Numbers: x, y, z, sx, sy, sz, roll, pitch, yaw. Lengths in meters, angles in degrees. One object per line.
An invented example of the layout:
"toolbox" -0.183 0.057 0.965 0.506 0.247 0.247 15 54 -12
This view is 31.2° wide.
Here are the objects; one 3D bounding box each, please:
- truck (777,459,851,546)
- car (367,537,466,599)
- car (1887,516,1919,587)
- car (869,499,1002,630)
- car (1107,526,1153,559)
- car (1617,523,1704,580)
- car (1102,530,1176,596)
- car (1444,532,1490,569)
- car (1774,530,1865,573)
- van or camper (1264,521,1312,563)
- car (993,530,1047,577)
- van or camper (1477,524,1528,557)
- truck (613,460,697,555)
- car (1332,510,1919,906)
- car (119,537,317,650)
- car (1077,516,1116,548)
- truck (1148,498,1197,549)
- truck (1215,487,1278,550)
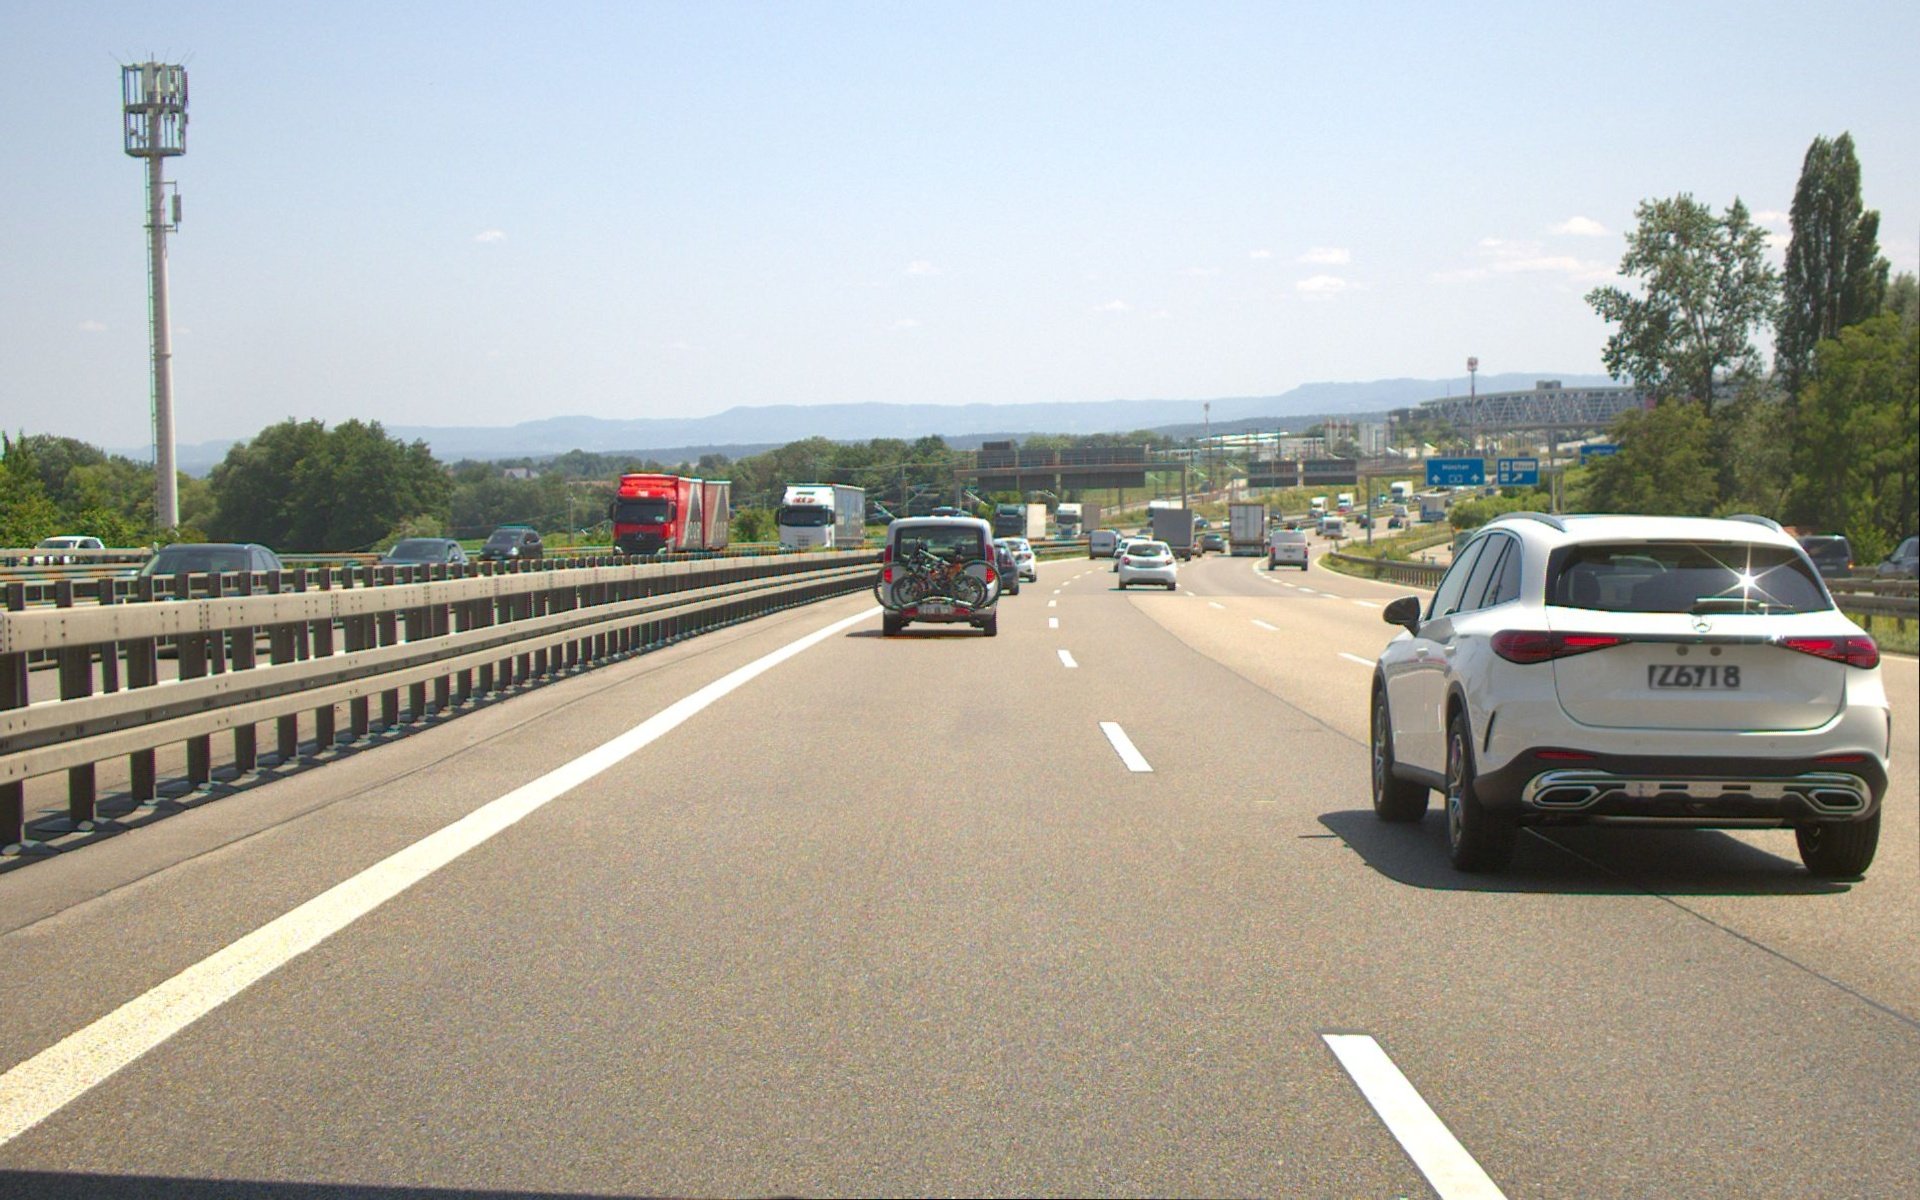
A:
"truck" -7.434 -4.941 175.350 2.928 4.330 6.915 1 1 4
"car" -13.389 -0.807 84.901 1.658 1.459 4.445 1 1 1
"car" 22.074 -1.076 76.440 1.699 1.569 4.128 1 1 -1
"car" -0.344 -0.564 53.232 1.926 1.912 4.948 1 1 0
"car" 7.631 -2.585 154.006 1.982 1.468 4.000 0 1 4
"car" 24.089 -1.670 118.361 1.939 1.917 4.180 1 1 -2
"car" 5.369 -1.140 103.444 1.926 1.912 4.518 1 1 0
"car" 27.807 -2.725 188.701 1.993 2.007 4.000 1 1 1
"car" 26.890 -1.527 107.676 1.699 1.273 4.001 1 1 -2
"van or camper" 16.182 -2.876 169.674 2.156 2.007 4.304 1 1 3
"car" 2.065 -1.585 117.155 1.576 1.547 3.963 1 1 4
"van or camper" 33.615 -3.705 213.071 2.529 2.007 4.461 1 1 2
"truck" -13.609 -4.103 154.016 2.582 4.101 10.348 1 1 1
"car" 3.099 0.412 16.970 1.898 1.641 4.999 1 1 -1
"car" -9.694 -0.118 45.168 1.630 1.406 4.100 0 1 1
"car" 8.691 -4.297 218.700 2.186 1.996 3.999 1 1 6
"truck" 13.413 -4.779 216.246 2.703 3.098 10.657 1 1 5
"truck" 21.781 -6.239 260.826 4.040 4.247 11.755 1 4 8
